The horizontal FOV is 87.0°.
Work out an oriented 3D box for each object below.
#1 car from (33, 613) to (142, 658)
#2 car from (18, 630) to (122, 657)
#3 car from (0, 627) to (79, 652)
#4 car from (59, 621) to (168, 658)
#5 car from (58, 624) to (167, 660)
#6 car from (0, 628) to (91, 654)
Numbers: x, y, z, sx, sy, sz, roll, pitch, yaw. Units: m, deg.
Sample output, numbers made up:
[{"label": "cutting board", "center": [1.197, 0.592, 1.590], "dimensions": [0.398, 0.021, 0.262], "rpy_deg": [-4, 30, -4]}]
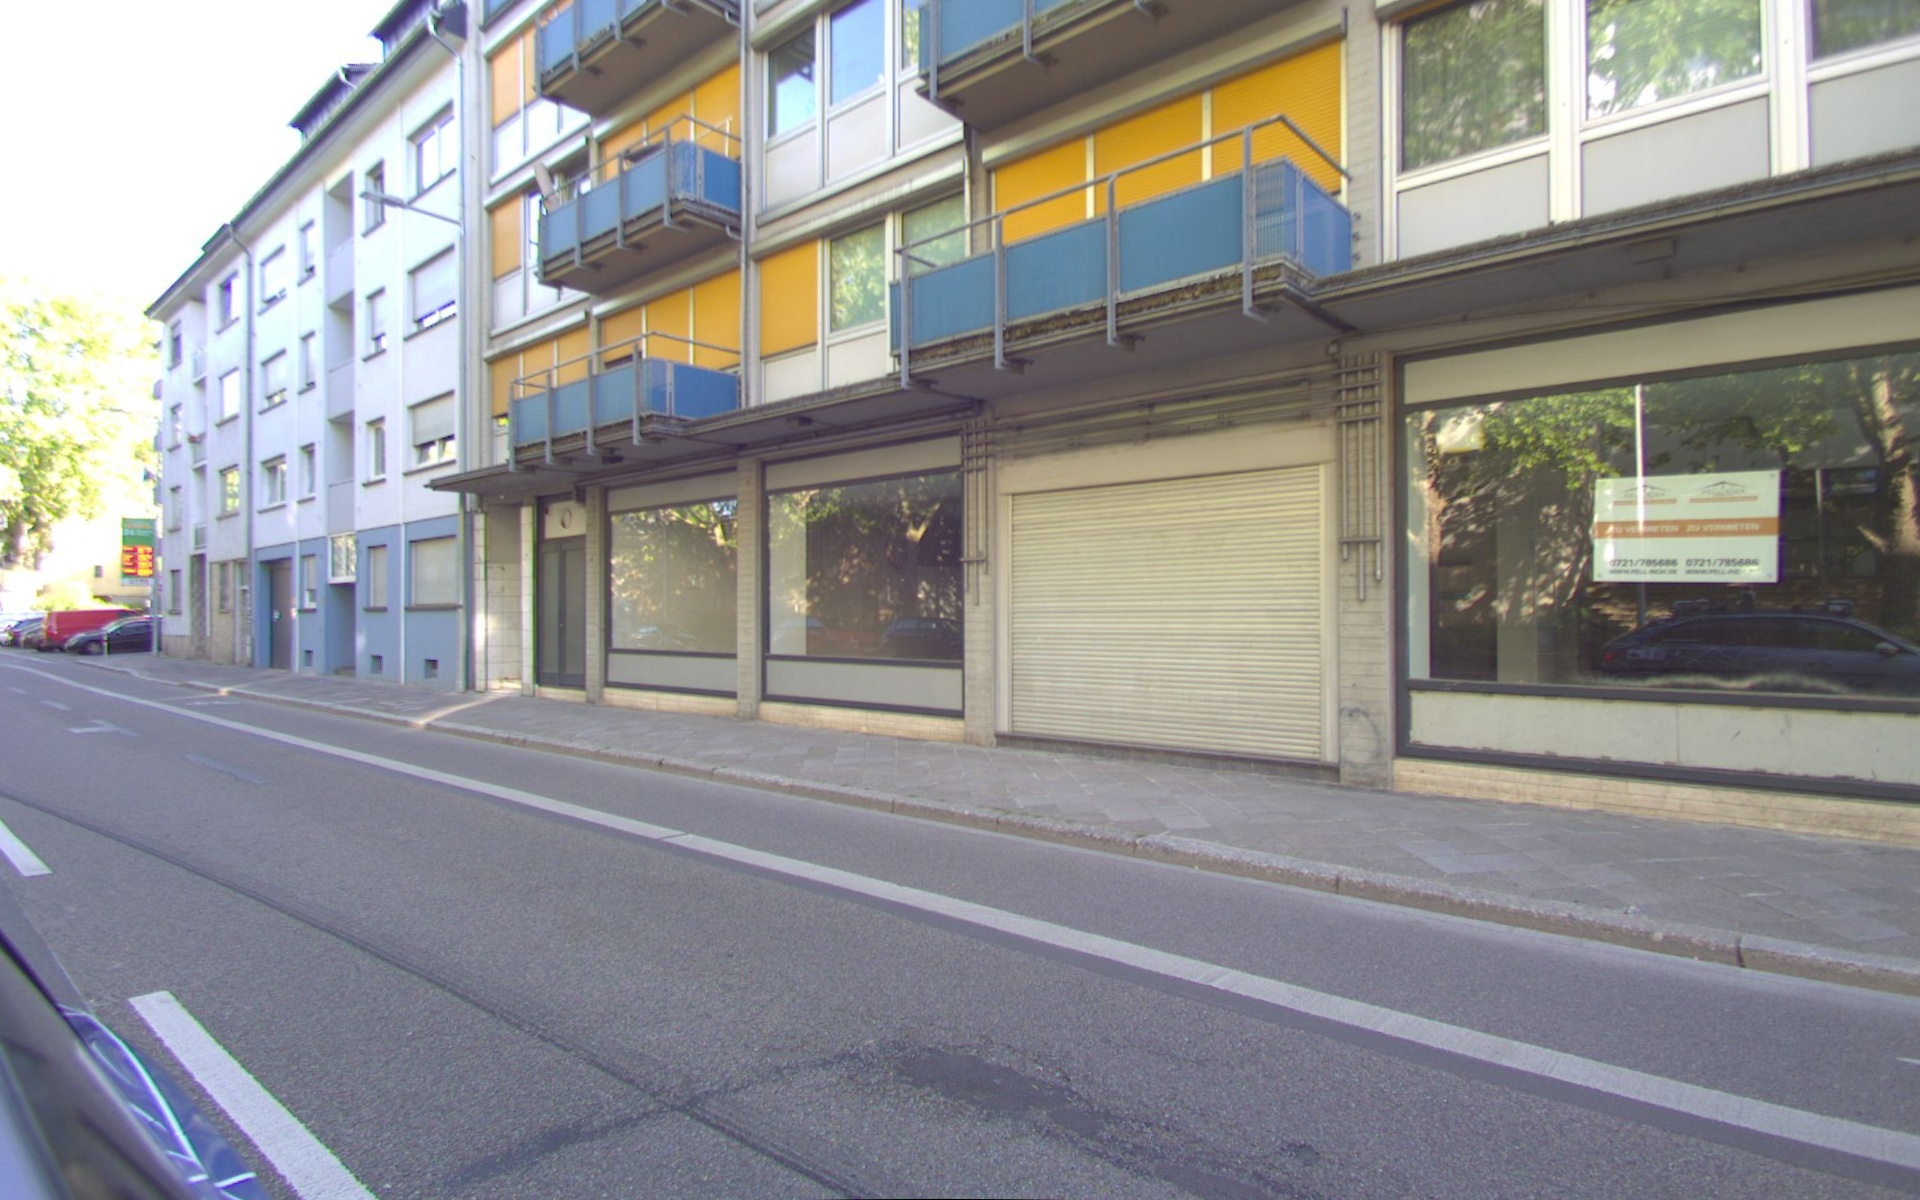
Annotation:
[{"label": "car", "center": [-40.660, 1.635, 47.226], "dimensions": [1.488, 1.923, 3.642], "rpy_deg": [-4, -2, 39]}, {"label": "car", "center": [-42.823, 2.061, 48.741], "dimensions": [1.345, 1.137, 3.638], "rpy_deg": [-1, 0, 43]}, {"label": "car", "center": [-52.269, 2.235, 57.506], "dimensions": [1.345, 1.254, 3.228], "rpy_deg": [-1, 0, 43]}, {"label": "car", "center": [-38.201, 1.756, 45.726], "dimensions": [1.490, 1.523, 3.638], "rpy_deg": [-1, 0, 43]}, {"label": "car", "center": [-36.685, 1.799, 43.846], "dimensions": [1.490, 1.398, 3.462], "rpy_deg": [-1, 0, 43]}, {"label": "car", "center": [-50.455, 2.228, 55.877], "dimensions": [1.345, 1.254, 3.638], "rpy_deg": [-1, 0, 43]}]
